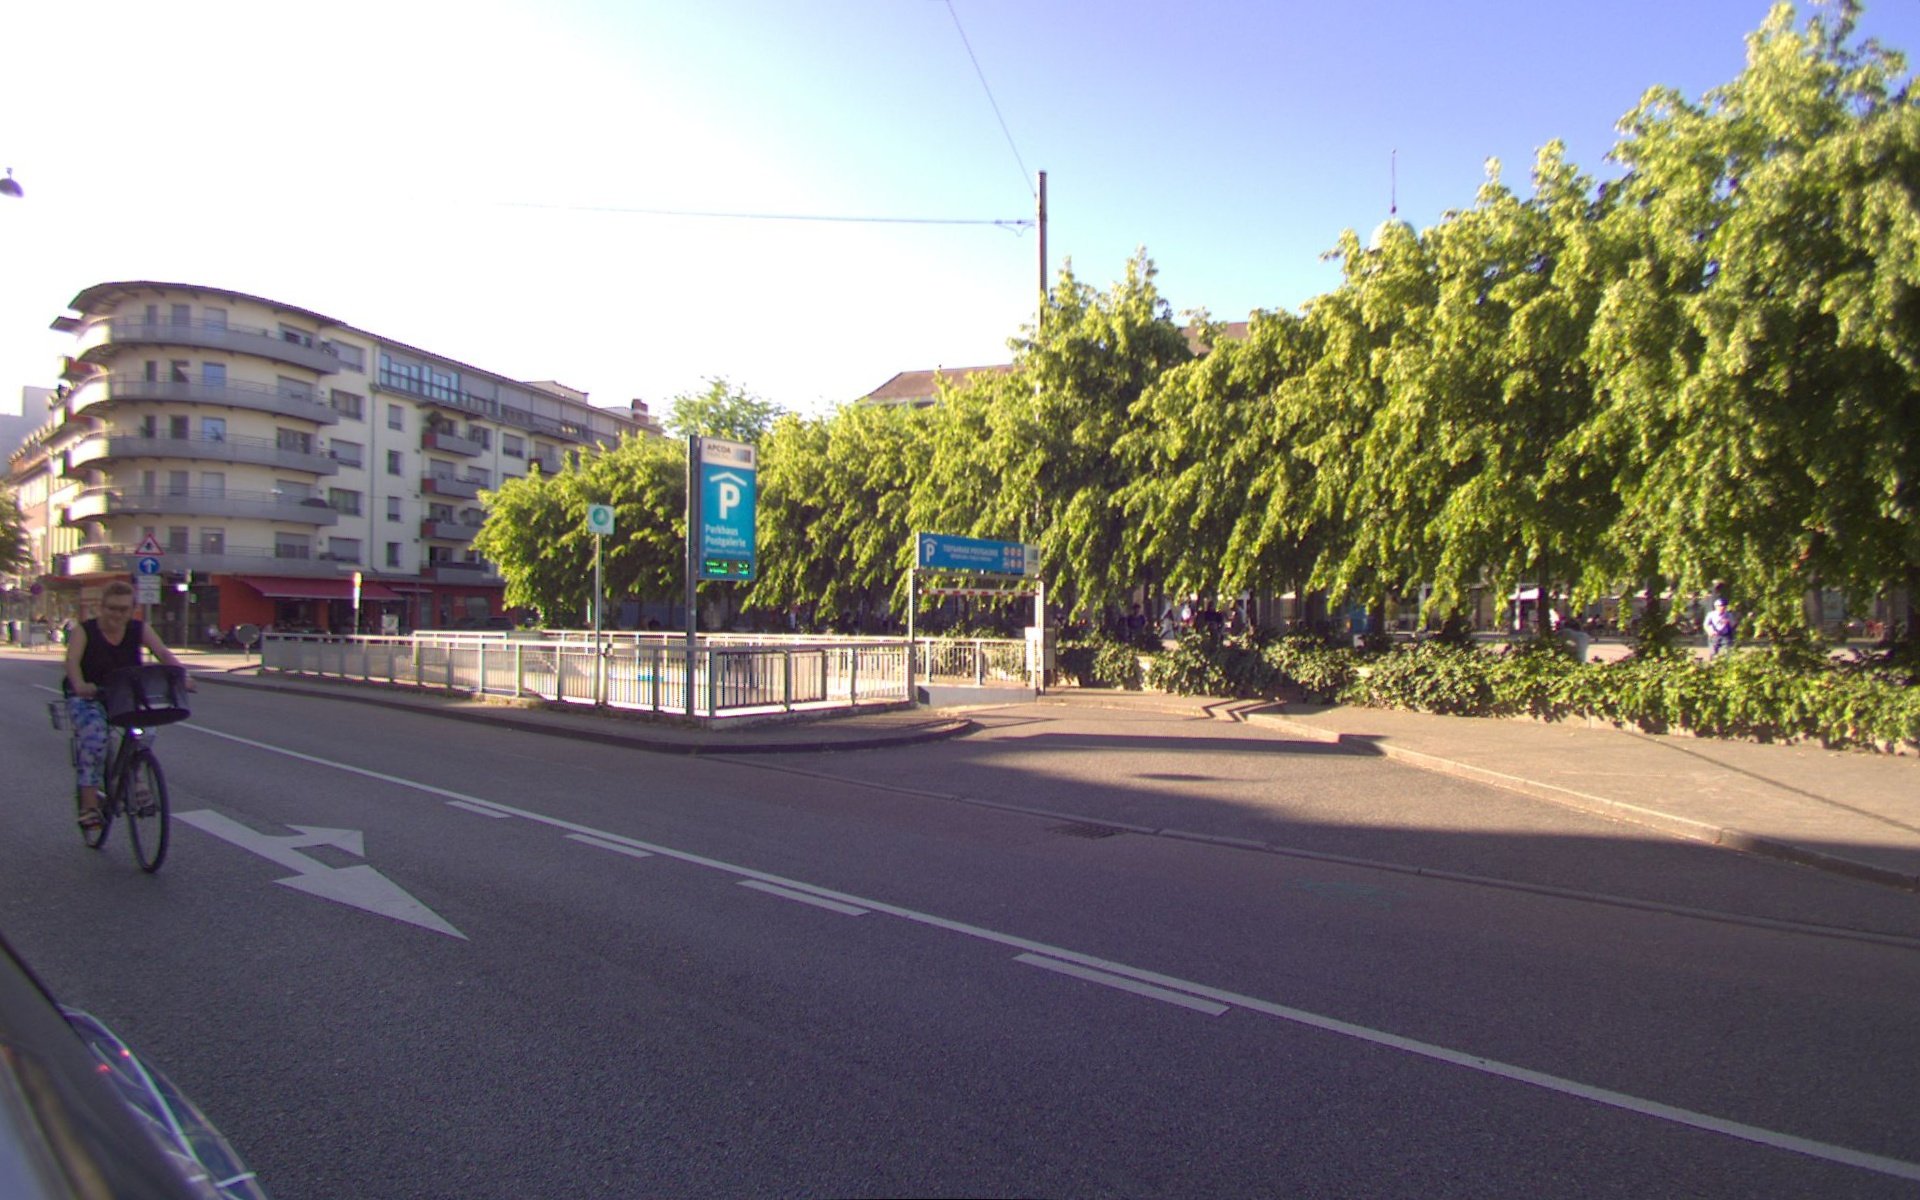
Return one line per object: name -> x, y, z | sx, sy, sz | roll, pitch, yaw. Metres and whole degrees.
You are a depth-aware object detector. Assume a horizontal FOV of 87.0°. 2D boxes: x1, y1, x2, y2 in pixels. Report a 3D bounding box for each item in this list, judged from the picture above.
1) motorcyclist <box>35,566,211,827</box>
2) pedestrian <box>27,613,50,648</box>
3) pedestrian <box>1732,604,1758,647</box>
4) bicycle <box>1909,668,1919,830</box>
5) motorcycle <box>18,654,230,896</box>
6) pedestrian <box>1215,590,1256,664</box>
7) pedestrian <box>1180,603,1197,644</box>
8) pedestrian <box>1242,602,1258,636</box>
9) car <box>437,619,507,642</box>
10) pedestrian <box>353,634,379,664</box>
motorcyclist -> -5.089, 0.539, 6.157 | 0.705, 1.457, 0.713 | -1, 0, 41
pedestrian -> -53.373, 1.761, 58.624 | 0.888, 2.029, 0.850 | -1, 0, 40
pedestrian -> 31.698, 1.034, 40.885 | 0.641, 1.734, 0.605 | -1, 0, 18
bicycle -> 7.450, 1.000, 6.431 | 2.038, 1.093, 0.639 | -1, 0, 10
motorcycle -> -5.205, 0.974, 6.255 | 1.905, 1.193, 0.711 | -1, 0, 41
pedestrian -> 6.331, 0.616, 23.236 | 0.645, 1.661, 0.626 | -1, 0, -35
pedestrian -> 9.715, 1.006, 43.036 | 0.604, 1.734, 0.642 | -1, 0, 21
pedestrian -> 14.889, 0.989, 51.991 | 0.606, 1.734, 0.640 | -1, 0, 31
car -> -30.469, 1.890, 63.333 | 1.742, 1.311, 3.977 | -1, -1, 17
pedestrian -> -32.567, 2.673, 55.488 | 0.877, 1.607, 0.861 | -1, 0, 2
